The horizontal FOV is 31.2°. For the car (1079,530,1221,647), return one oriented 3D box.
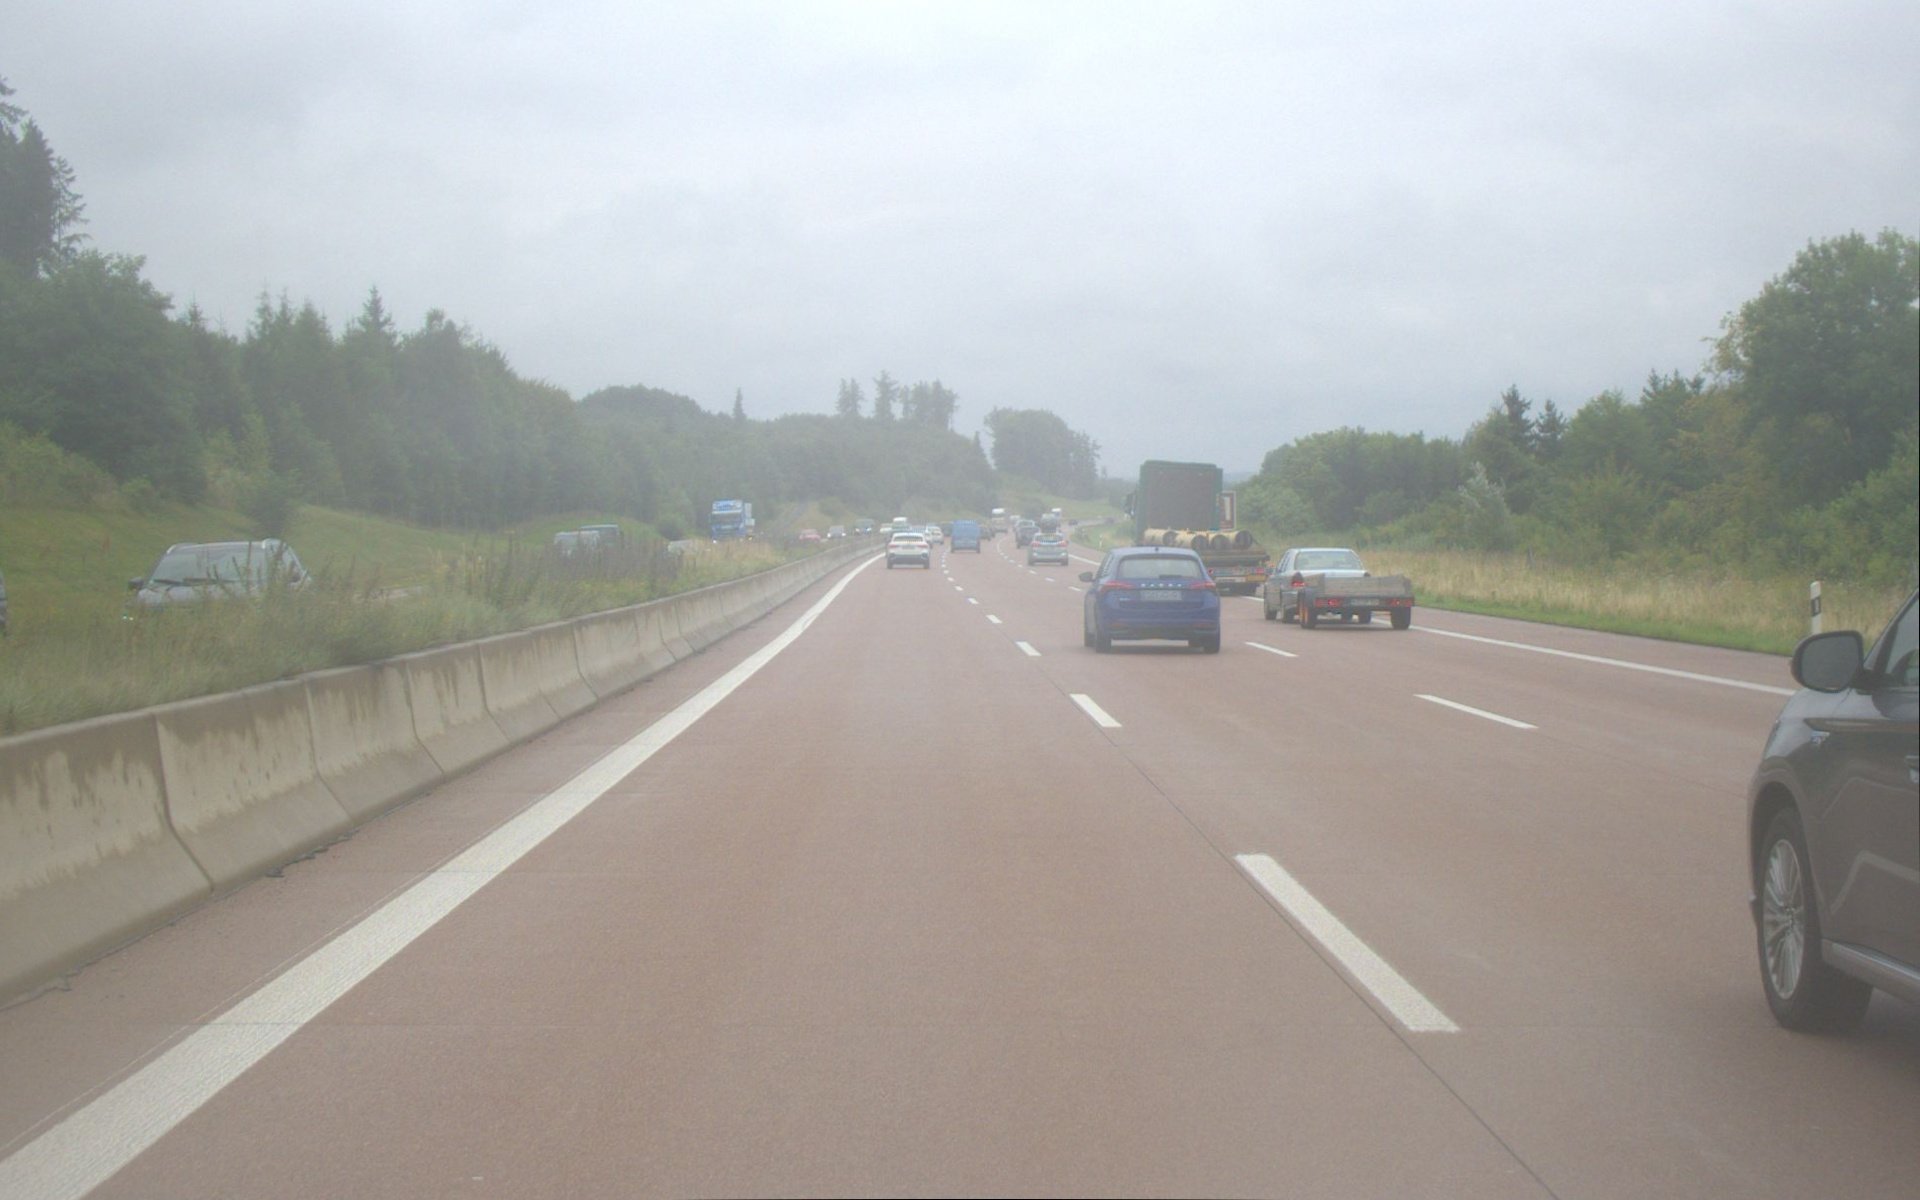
[{"bbox_3d":[2.642,-0.161,48.570,1.771,1.558,4.146,1,0,0],"label":"car"}]

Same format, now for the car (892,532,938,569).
[{"bbox_3d":[-1.931,-2.163,148.090,1.874,1.439,4.878,1,2,0],"label":"car"}]

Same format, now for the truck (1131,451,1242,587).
[{"bbox_3d":[6.826,-2.404,104.491,2.897,3.951,6.989,1,0,0],"label":"truck"}]

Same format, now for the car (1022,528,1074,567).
[{"bbox_3d":[4.085,-2.451,160.107,2.322,1.744,4.877,1,0,0],"label":"car"}]

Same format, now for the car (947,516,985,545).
[{"bbox_3d":[0.376,-4.336,215.287,2.322,1.744,4.877,1,0,0],"label":"car"}]

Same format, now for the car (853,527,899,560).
[{"bbox_3d":[-4.551,-3.073,187.635,2.322,1.744,4.877,1,0,0],"label":"car"}]

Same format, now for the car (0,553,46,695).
[{"bbox_3d":[-14.572,0.333,48.358,1.993,2.007,5.674,1,0,-1],"label":"car"}]

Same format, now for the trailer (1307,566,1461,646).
[{"bbox_3d":[6.988,0.077,57.054,1.971,1.162,4.639,1,2,0],"label":"trailer"}]

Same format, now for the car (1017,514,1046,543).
[{"bbox_3d":[5.130,-5.169,248.256,1.993,2.007,4.000,1,0,0],"label":"car"}]

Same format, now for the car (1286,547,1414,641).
[{"bbox_3d":[6.961,-0.124,61.787,1.698,1.606,4.977,0,1,0],"label":"car"}]

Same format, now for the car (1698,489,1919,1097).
[{"bbox_3d":[3.510,0.516,8.830,1.993,1.587,5.820,1,0,0],"label":"car"}]

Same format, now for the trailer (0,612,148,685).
[{"bbox_3d":[-14.648,0.756,54.115,2.205,0.994,6.851,-2,0,-1],"label":"trailer"}]

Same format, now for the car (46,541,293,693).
[{"bbox_3d":[-9.843,0.183,43.192,1.890,1.773,4.938,1,0,1],"label":"car"}]

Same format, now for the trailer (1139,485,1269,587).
[{"bbox_3d":[6.770,-1.720,96.924,2.881,2.666,11.398,1,0,0],"label":"trailer"}]
